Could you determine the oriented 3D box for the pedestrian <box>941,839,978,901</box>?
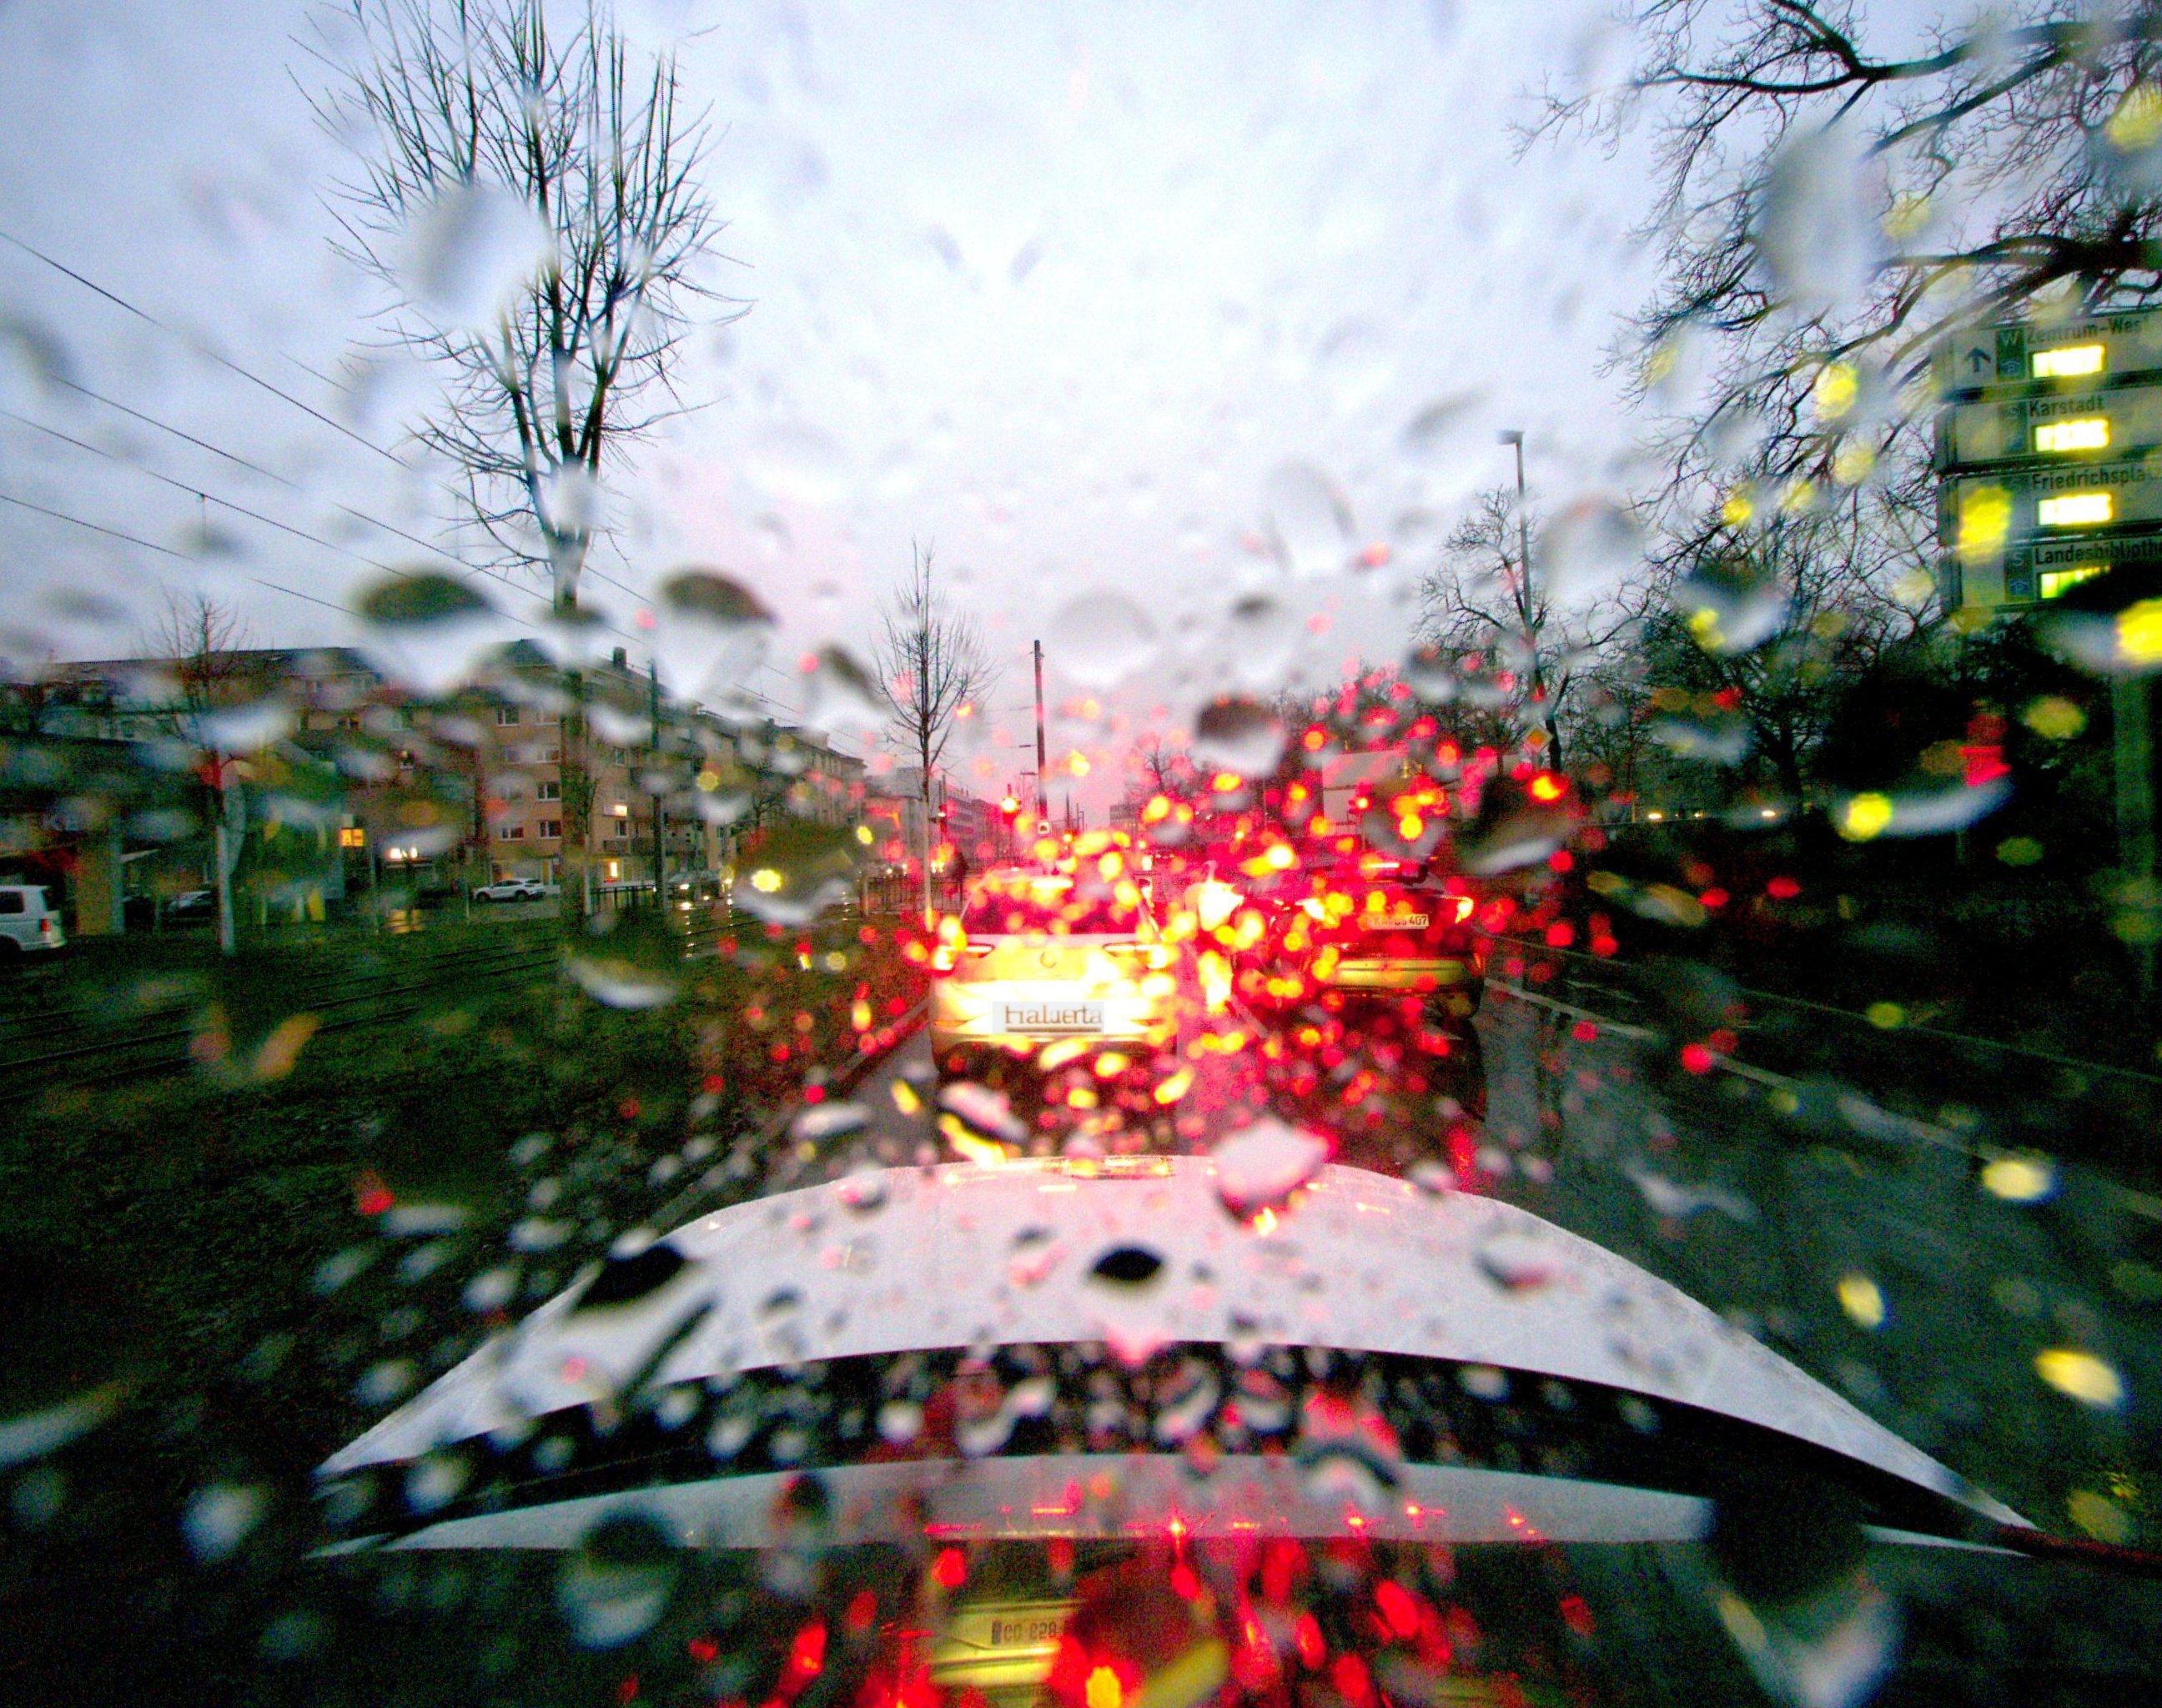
[{"bbox_3d":[-4.121,0.540,27.576,1.008,2.013,0.955,-2,0,-21],"label":"pedestrian"}]

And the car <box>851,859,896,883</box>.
[{"bbox_3d":[-14.156,1.116,55.692,1.986,1.602,4.001,0,0,1],"label":"car"}]

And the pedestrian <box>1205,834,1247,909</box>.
[{"bbox_3d":[4.043,0.480,22.835,0.955,2.013,1.008,-2,0,1],"label":"pedestrian"}]

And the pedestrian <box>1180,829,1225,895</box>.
[{"bbox_3d":[3.787,0.240,25.505,0.962,2.013,1.001,-2,0,-21],"label":"pedestrian"}]

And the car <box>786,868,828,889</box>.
[{"bbox_3d":[-18.702,1.659,55.727,1.688,1.277,4.142,-2,0,-4],"label":"car"}]

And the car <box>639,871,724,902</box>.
[{"bbox_3d":[-19.074,1.511,39.111,1.852,1.332,4.317,0,0,2],"label":"car"}]

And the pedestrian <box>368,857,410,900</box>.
[{"bbox_3d":[-33.813,1.164,39.805,1.274,2.013,1.000,-2,0,-22],"label":"pedestrian"}]

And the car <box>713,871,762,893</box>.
[{"bbox_3d":[-21.818,1.763,51.845,1.687,1.277,3.532,-2,0,-3],"label":"car"}]

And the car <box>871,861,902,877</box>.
[{"bbox_3d":[-19.494,1.469,81.778,1.942,1.602,4.002,0,0,2],"label":"car"}]

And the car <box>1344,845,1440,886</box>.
[{"bbox_3d":[15.004,0.550,39.468,4.237,1.943,2.009,0,0,18],"label":"car"}]

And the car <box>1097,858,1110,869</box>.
[{"bbox_3d":[3.200,1.350,115.596,1.731,1.419,4.396,-2,0,2],"label":"car"}]

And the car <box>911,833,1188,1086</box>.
[{"bbox_3d":[-0.235,0.640,7.038,1.688,1.533,3.998,-1,0,-1],"label":"car"}]

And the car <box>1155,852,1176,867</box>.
[{"bbox_3d":[8.313,0.527,80.158,1.731,1.419,3.705,-2,0,2],"label":"car"}]

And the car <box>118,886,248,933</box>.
[{"bbox_3d":[-43.080,2.629,39.220,1.886,2.014,3.876,0,0,2],"label":"car"}]

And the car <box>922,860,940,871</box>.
[{"bbox_3d":[-23.377,1.824,126.787,1.942,1.602,4.002,0,0,2],"label":"car"}]

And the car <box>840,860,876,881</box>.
[{"bbox_3d":[-18.892,1.373,69.155,1.860,1.577,4.002,-2,0,2],"label":"car"}]

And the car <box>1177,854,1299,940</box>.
[{"bbox_3d":[2.831,0.722,15.416,1.738,1.433,3.733,0,0,2],"label":"car"}]

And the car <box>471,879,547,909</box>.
[{"bbox_3d":[-38.554,2.694,55.008,3.743,1.942,1.838,0,0,-6],"label":"car"}]

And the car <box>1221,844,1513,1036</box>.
[{"bbox_3d":[2.662,0.704,8.587,1.793,1.511,3.897,-2,0,2],"label":"car"}]

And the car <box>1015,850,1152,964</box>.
[{"bbox_3d":[0.118,0.701,13.222,1.792,1.466,4.588,-2,0,2],"label":"car"}]

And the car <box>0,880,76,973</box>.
[{"bbox_3d":[-28.623,1.832,19.923,4.859,2.244,1.975,0,0,-44],"label":"car"}]

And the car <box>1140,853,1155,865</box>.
[{"bbox_3d":[8.544,0.622,104.371,1.731,1.419,3.705,-2,0,2],"label":"car"}]

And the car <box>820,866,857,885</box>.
[{"bbox_3d":[-21.790,1.914,73.359,1.942,1.602,4.002,0,0,2],"label":"car"}]
